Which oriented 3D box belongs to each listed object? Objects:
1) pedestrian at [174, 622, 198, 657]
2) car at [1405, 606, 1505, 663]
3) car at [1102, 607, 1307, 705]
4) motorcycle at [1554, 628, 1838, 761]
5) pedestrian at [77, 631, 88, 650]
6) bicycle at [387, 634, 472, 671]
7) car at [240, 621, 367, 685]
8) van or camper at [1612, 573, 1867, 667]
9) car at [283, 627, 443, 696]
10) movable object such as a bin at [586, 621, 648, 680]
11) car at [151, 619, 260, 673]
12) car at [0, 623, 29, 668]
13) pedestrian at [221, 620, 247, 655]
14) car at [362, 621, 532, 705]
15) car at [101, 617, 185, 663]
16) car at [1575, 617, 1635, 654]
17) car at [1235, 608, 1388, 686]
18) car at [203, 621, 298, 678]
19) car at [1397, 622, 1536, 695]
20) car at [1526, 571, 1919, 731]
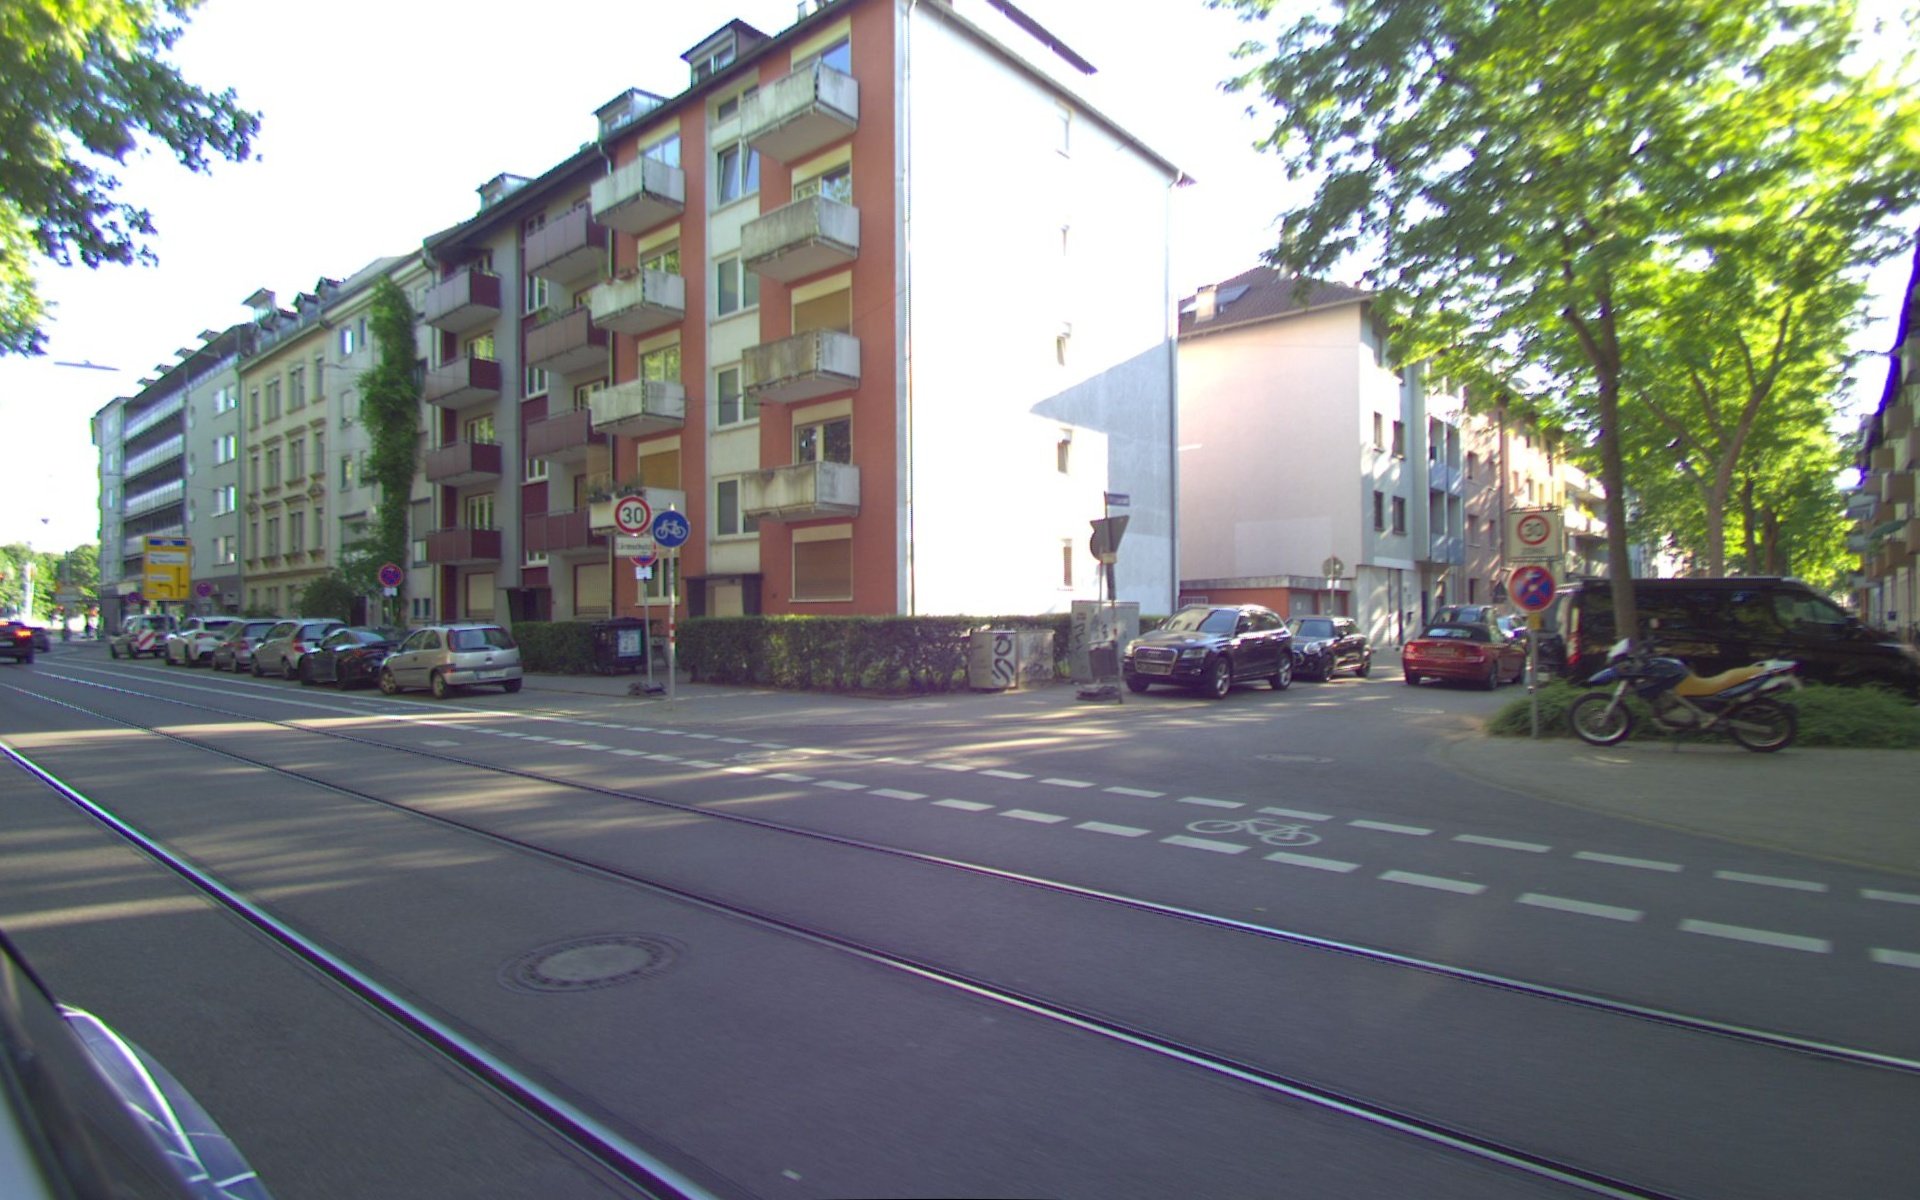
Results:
[{"bbox_3d":[-41.136,2.077,53.782,0.735,1.798,0.856,-2,0,40],"label":"pedestrian"},{"bbox_3d":[16.255,1.077,33.113,1.915,1.736,4.263,0,0,41],"label":"car"},{"bbox_3d":[4.743,0.965,19.209,1.937,1.619,4.485,0,0,41],"label":"car"},{"bbox_3d":[7.904,0.997,10.981,2.345,1.291,0.893,-4,-4,39],"label":"motorcycle"},{"bbox_3d":[-80.133,3.701,92.431,0.706,1.686,0.905,1,-2,-41],"label":"pedestrian"},{"bbox_3d":[-17.708,1.728,33.847,0.698,1.070,2.427,-2,0,38],"label":"bicycle"},{"bbox_3d":[-18.122,1.402,27.876,4.001,1.599,1.801,-2,-1,39],"label":"car"},{"bbox_3d":[22.965,0.617,30.085,5.487,2.649,2.251,0,-2,10],"label":"van or camper"},{"bbox_3d":[-14.430,1.405,24.357,4.861,1.405,1.932,-2,1,42],"label":"car"},{"bbox_3d":[-8.137,1.184,24.034,0.747,1.375,1.198,-2,-2,42],"label":"movable object such as a bin"},{"bbox_3d":[-25.906,1.519,34.688,4.878,1.661,1.933,-1,0,40],"label":"car"},{"bbox_3d":[-36.327,1.683,37.953,4.465,1.612,1.832,-1,-1,44],"label":"car"},{"bbox_3d":[-39.076,1.993,54.473,0.729,1.827,0.952,-2,0,42],"label":"pedestrian"},{"bbox_3d":[-10.584,1.228,20.779,3.927,1.494,1.708,-1,1,40],"label":"car"},{"bbox_3d":[-34.008,1.644,42.086,4.465,1.784,1.771,-2,0,38],"label":"car"},{"bbox_3d":[32.513,1.764,50.980,1.915,1.736,4.263,-1,-2,41],"label":"car"},{"bbox_3d":[8.315,1.026,23.702,1.937,1.619,4.263,0,0,41],"label":"car"},{"bbox_3d":[-21.868,1.475,31.136,3.780,1.583,1.608,-1,0,42],"label":"car"},{"bbox_3d":[11.368,1.231,22.588,1.798,1.400,4.178,0,0,41],"label":"car"},{"bbox_3d":[11.310,0.709,14.980,4.676,2.139,1.992,-1,-1,13],"label":"car"}]
